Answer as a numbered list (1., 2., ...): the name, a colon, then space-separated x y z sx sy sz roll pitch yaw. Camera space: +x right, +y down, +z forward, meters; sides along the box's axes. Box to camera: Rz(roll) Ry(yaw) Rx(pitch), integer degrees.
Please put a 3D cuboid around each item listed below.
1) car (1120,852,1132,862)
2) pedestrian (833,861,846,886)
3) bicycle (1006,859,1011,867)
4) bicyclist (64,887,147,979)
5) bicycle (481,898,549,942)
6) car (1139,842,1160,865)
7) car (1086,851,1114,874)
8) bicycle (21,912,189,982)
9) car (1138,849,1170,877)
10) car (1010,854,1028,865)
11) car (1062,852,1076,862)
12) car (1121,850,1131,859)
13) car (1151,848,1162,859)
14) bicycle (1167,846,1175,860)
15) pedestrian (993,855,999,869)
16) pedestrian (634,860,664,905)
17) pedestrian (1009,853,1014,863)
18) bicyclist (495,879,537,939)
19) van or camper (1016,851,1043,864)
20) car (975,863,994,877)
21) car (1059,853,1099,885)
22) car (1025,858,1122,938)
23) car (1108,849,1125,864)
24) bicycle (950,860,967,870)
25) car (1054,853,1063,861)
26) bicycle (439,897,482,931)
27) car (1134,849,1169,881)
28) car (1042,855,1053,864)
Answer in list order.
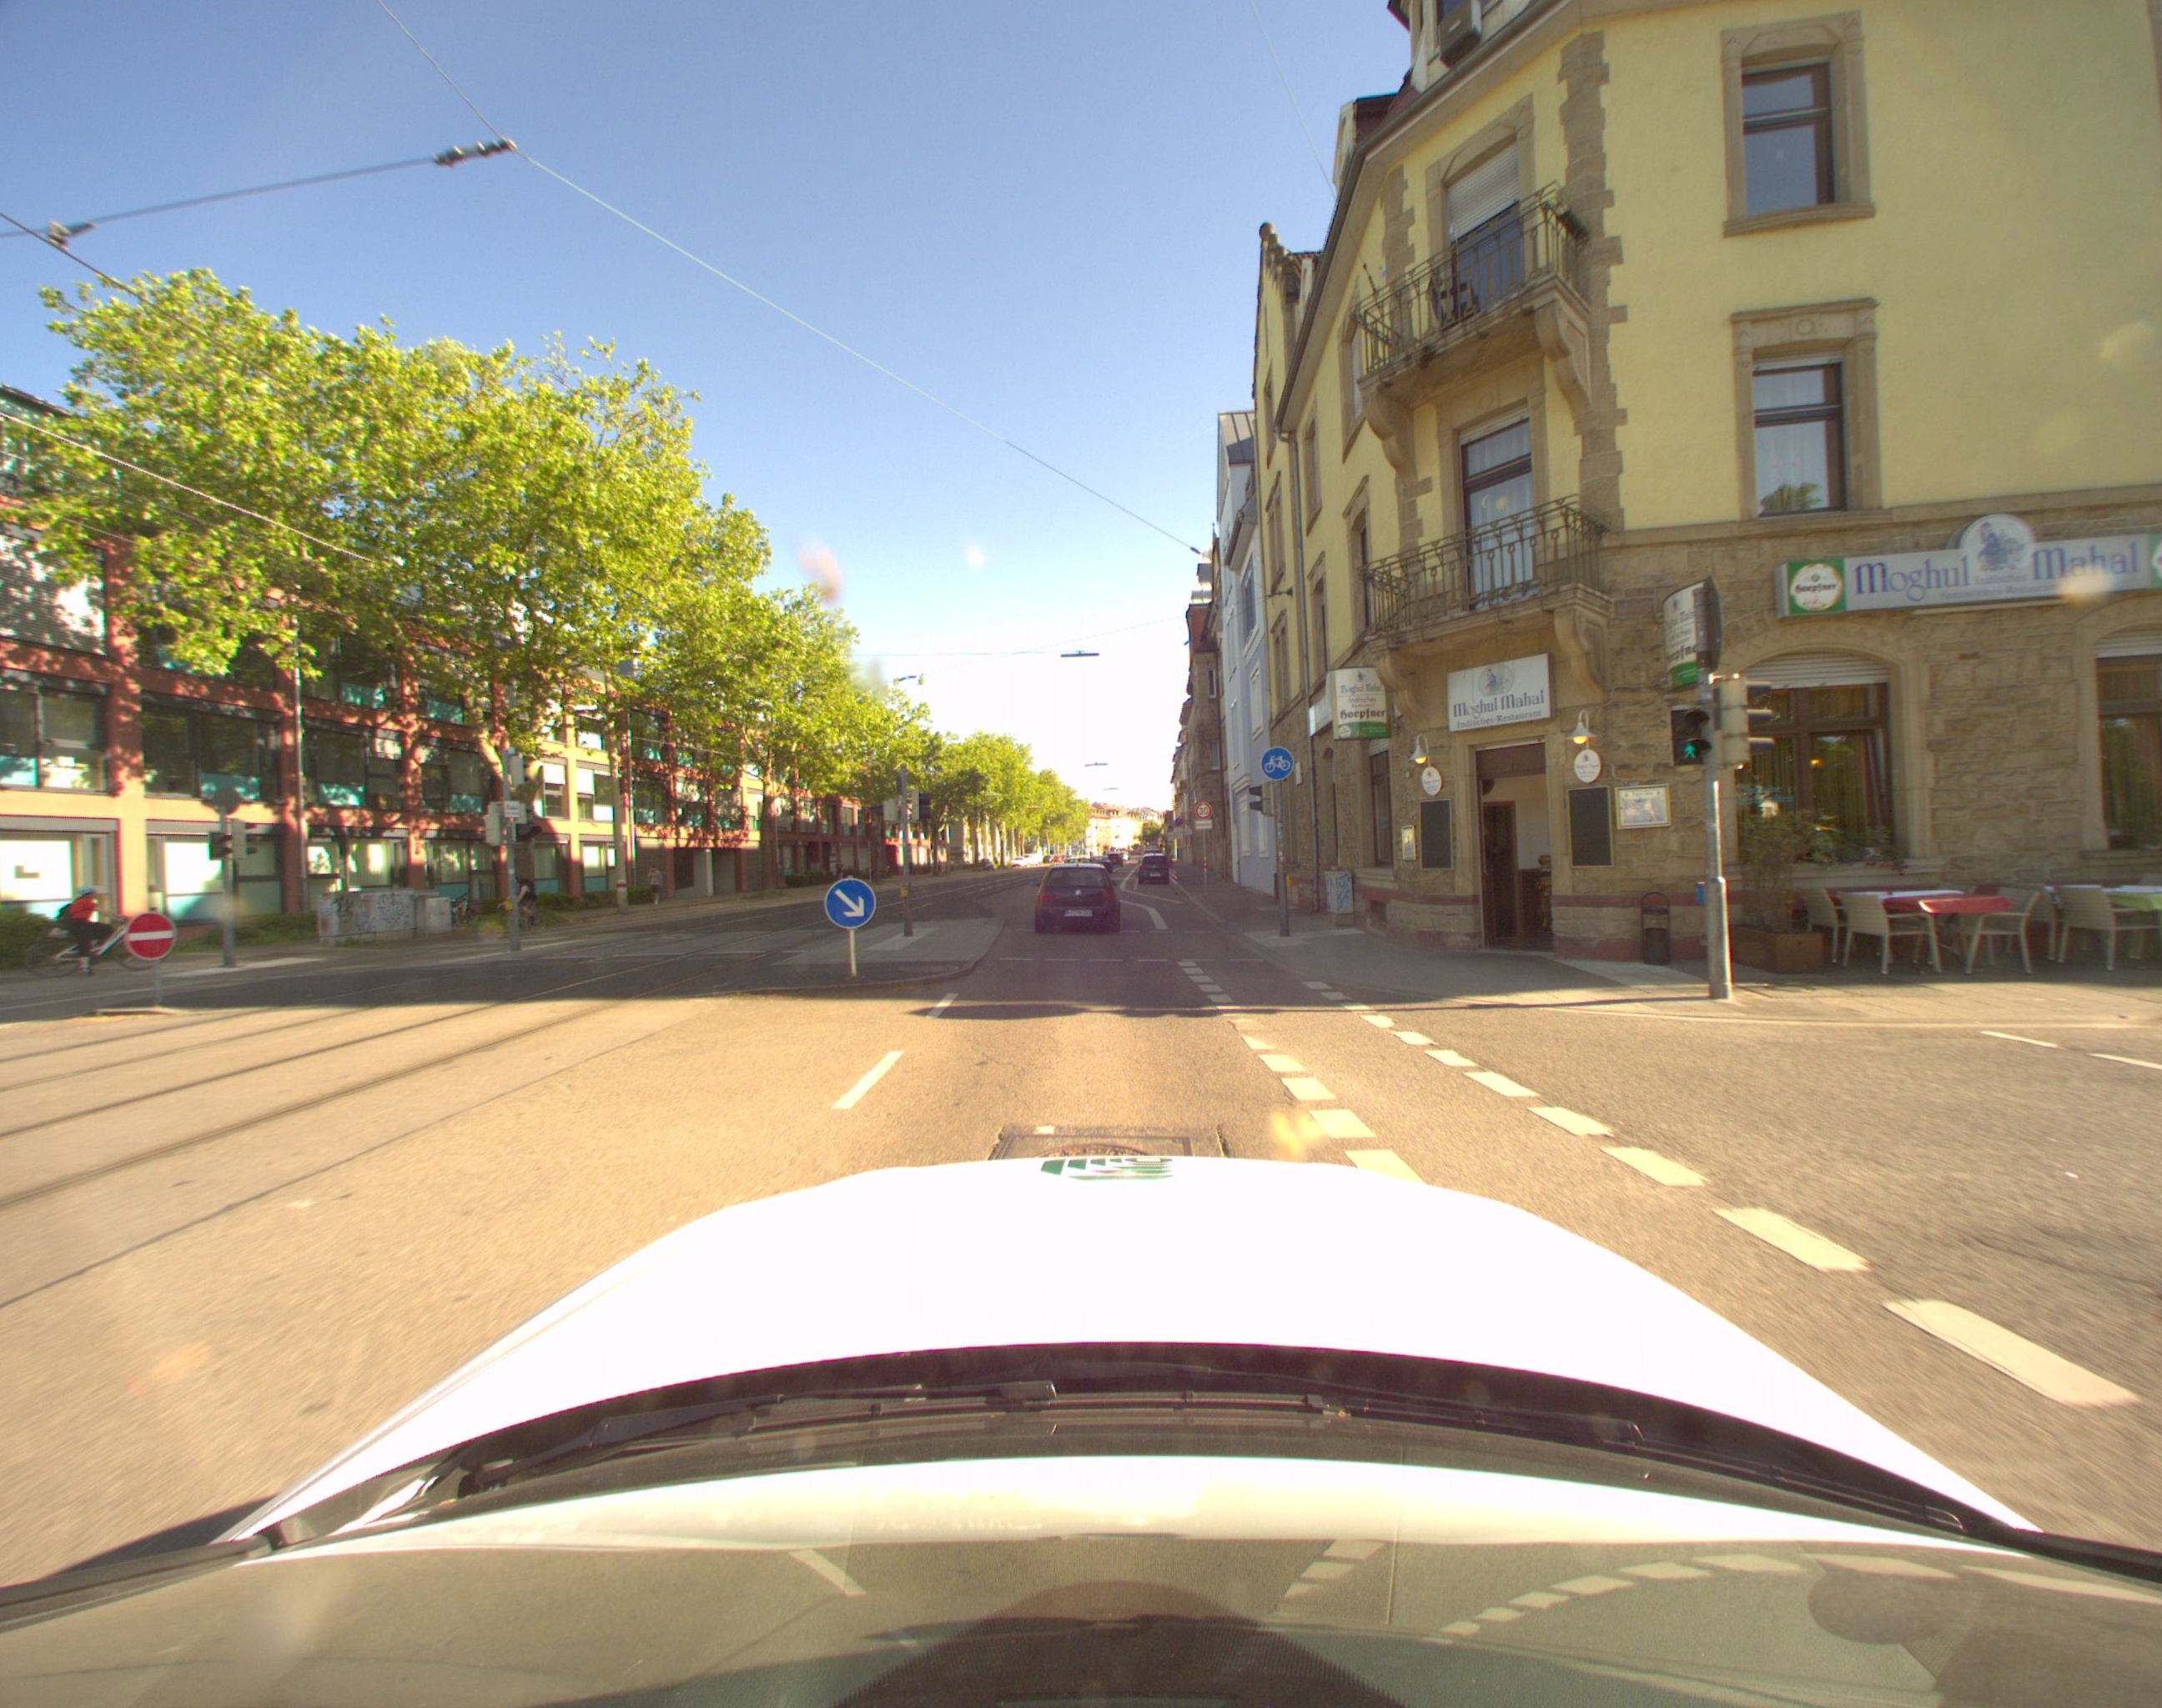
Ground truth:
1. car: 7.239 0.445 130.846 1.628 1.472 3.734 -3 0 5
2. pedestrian: -17.208 1.401 57.992 0.622 1.718 0.901 -1 0 4
3. bicycle: -10.224 1.272 115.307 0.579 1.209 1.653 -1 1 -1
4. bicyclist: -19.298 1.537 16.125 0.599 1.692 0.938 -1 0 30
5. bicycle: -15.866 1.838 22.891 0.643 1.042 1.923 -1 1 -4
6. car: 6.102 -0.060 72.235 1.744 1.855 4.822 -2 0 5
7. car: 1.449 0.641 61.400 1.740 1.537 3.898 -3 0 5
8. bicycle: -19.279 1.802 16.150 0.625 1.129 2.048 -1 1 30
9. car: 4.246 0.500 46.996 1.744 1.500 4.203 -1 0 6
10. car: -9.150 0.761 120.851 2.003 1.572 4.698 -1 1 3
11. car: -2.151 0.560 148.894 1.742 1.518 4.083 -4 0 10
12. car: 8.178 0.015 146.460 1.628 1.472 3.734 -2 0 5
13. car: 12.597 -0.094 135.544 1.751 1.837 3.552 -1 1 5
14. bicycle: 7.728 -0.135 69.867 0.512 1.139 2.261 -4 0 4
15. pedestrian: -11.800 1.089 112.551 0.785 1.870 0.668 -1 0 -10
16. pedestrian: -19.501 1.271 36.796 0.908 2.013 0.780 -1 0 -4
17. pedestrian: -12.144 0.688 142.321 0.793 1.820 0.671 -1 0 4
18. bicyclist: -15.873 1.542 22.893 0.643 1.611 0.780 -1 0 -4
19. van or camper: -8.280 0.543 131.154 2.041 1.949 5.219 -1 1 25
20. car: -11.352 1.900 95.700 1.500 1.454 3.468 -3 -2 5
21. car: -0.080 0.770 44.666 1.740 1.537 3.898 -3 0 5
22. car: -0.038 0.854 17.556 1.741 1.375 4.004 -3 0 3
23. car: 3.824 0.249 86.840 1.628 1.472 3.734 -2 0 5
24. bicycle: -15.557 1.384 103.222 1.999 1.278 0.665 -1 0 4
25. car: -4.715 0.619 171.884 1.563 1.533 3.577 -2 -1 5
26. bicycle: -18.472 1.777 24.281 0.522 0.906 1.534 -3 0 -19
27. car: 3.562 0.523 41.482 1.647 1.482 4.005 -2 0 4
28. car: -6.303 1.058 155.328 1.563 1.533 3.577 -2 -1 5
